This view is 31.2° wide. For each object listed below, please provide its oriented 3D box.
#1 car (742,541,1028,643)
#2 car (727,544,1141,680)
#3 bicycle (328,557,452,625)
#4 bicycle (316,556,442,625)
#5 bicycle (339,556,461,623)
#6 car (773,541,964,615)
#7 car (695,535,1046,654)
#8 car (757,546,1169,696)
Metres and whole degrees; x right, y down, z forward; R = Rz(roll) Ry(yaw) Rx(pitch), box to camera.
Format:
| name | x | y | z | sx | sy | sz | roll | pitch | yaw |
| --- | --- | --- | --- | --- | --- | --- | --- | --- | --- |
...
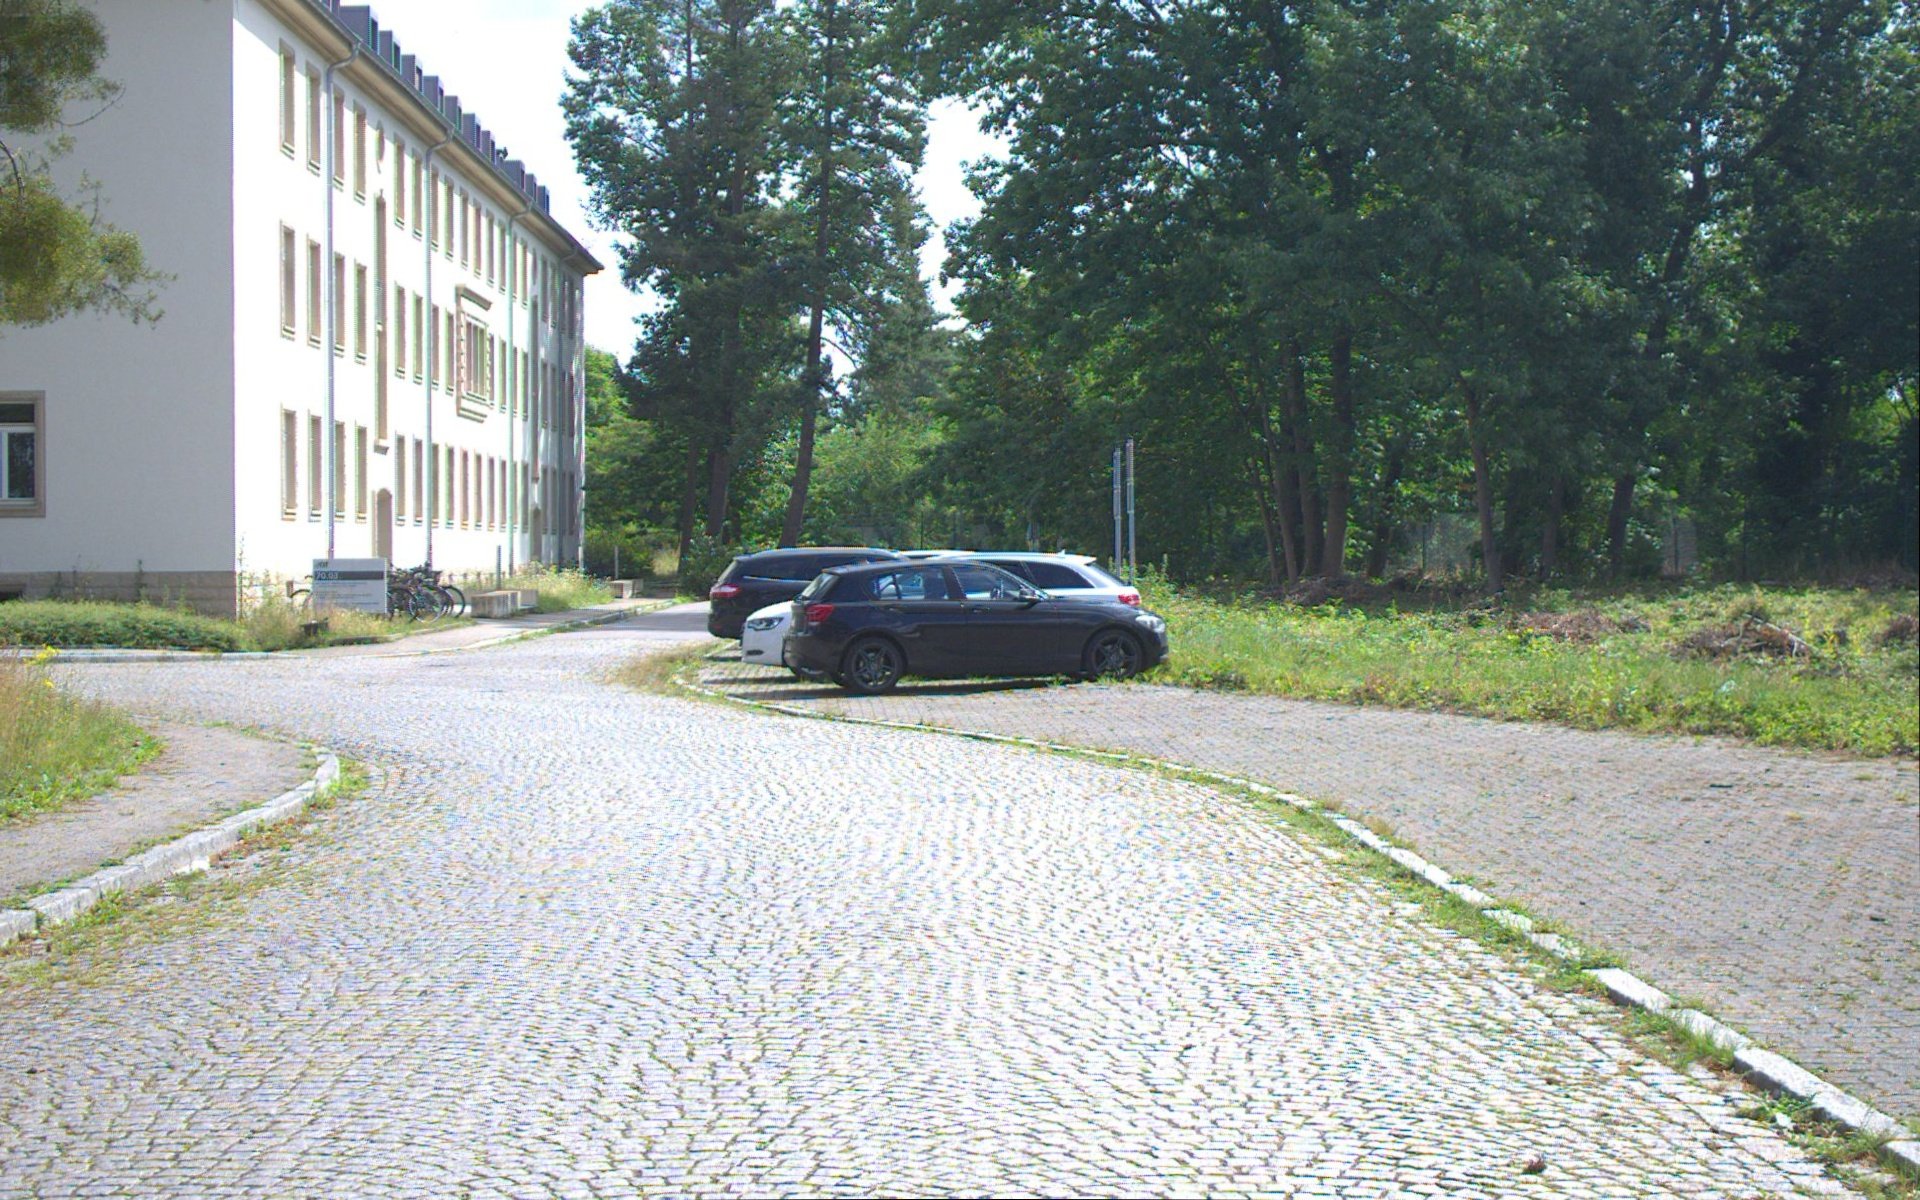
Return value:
| name | x | y | z | sx | sy | sz | roll | pitch | yaw |
| --- | --- | --- | --- | --- | --- | --- | --- | --- | --- |
| car | -1.195 | -0.127 | 54.194 | 4.398 | 1.479 | 1.766 | -1 | 0 | -2 |
| car | -0.340 | 0.125 | 41.541 | 4.861 | 1.467 | 1.875 | -1 | 2 | -2 |
| bicycle | -10.751 | -0.173 | 64.843 | 2.222 | 1.256 | 0.623 | 0 | 1 | 5 |
| bicycle | -10.816 | -0.180 | 64.013 | 2.222 | 1.256 | 0.623 | 0 | 1 | 1 |
| bicycle | -10.689 | -0.204 | 65.680 | 2.222 | 1.256 | 0.623 | 0 | 1 | 1 |
| car | -2.021 | -0.498 | 76.999 | 4.187 | 1.538 | 1.820 | -1 | 0 | 1 |
| car | -1.282 | -0.089 | 48.878 | 4.852 | 1.547 | 1.880 | -1 | 0 | -2 |
| car | 0.001 | 0.204 | 38.375 | 4.323 | 1.495 | 1.830 | -2 | 2 | -9 |
